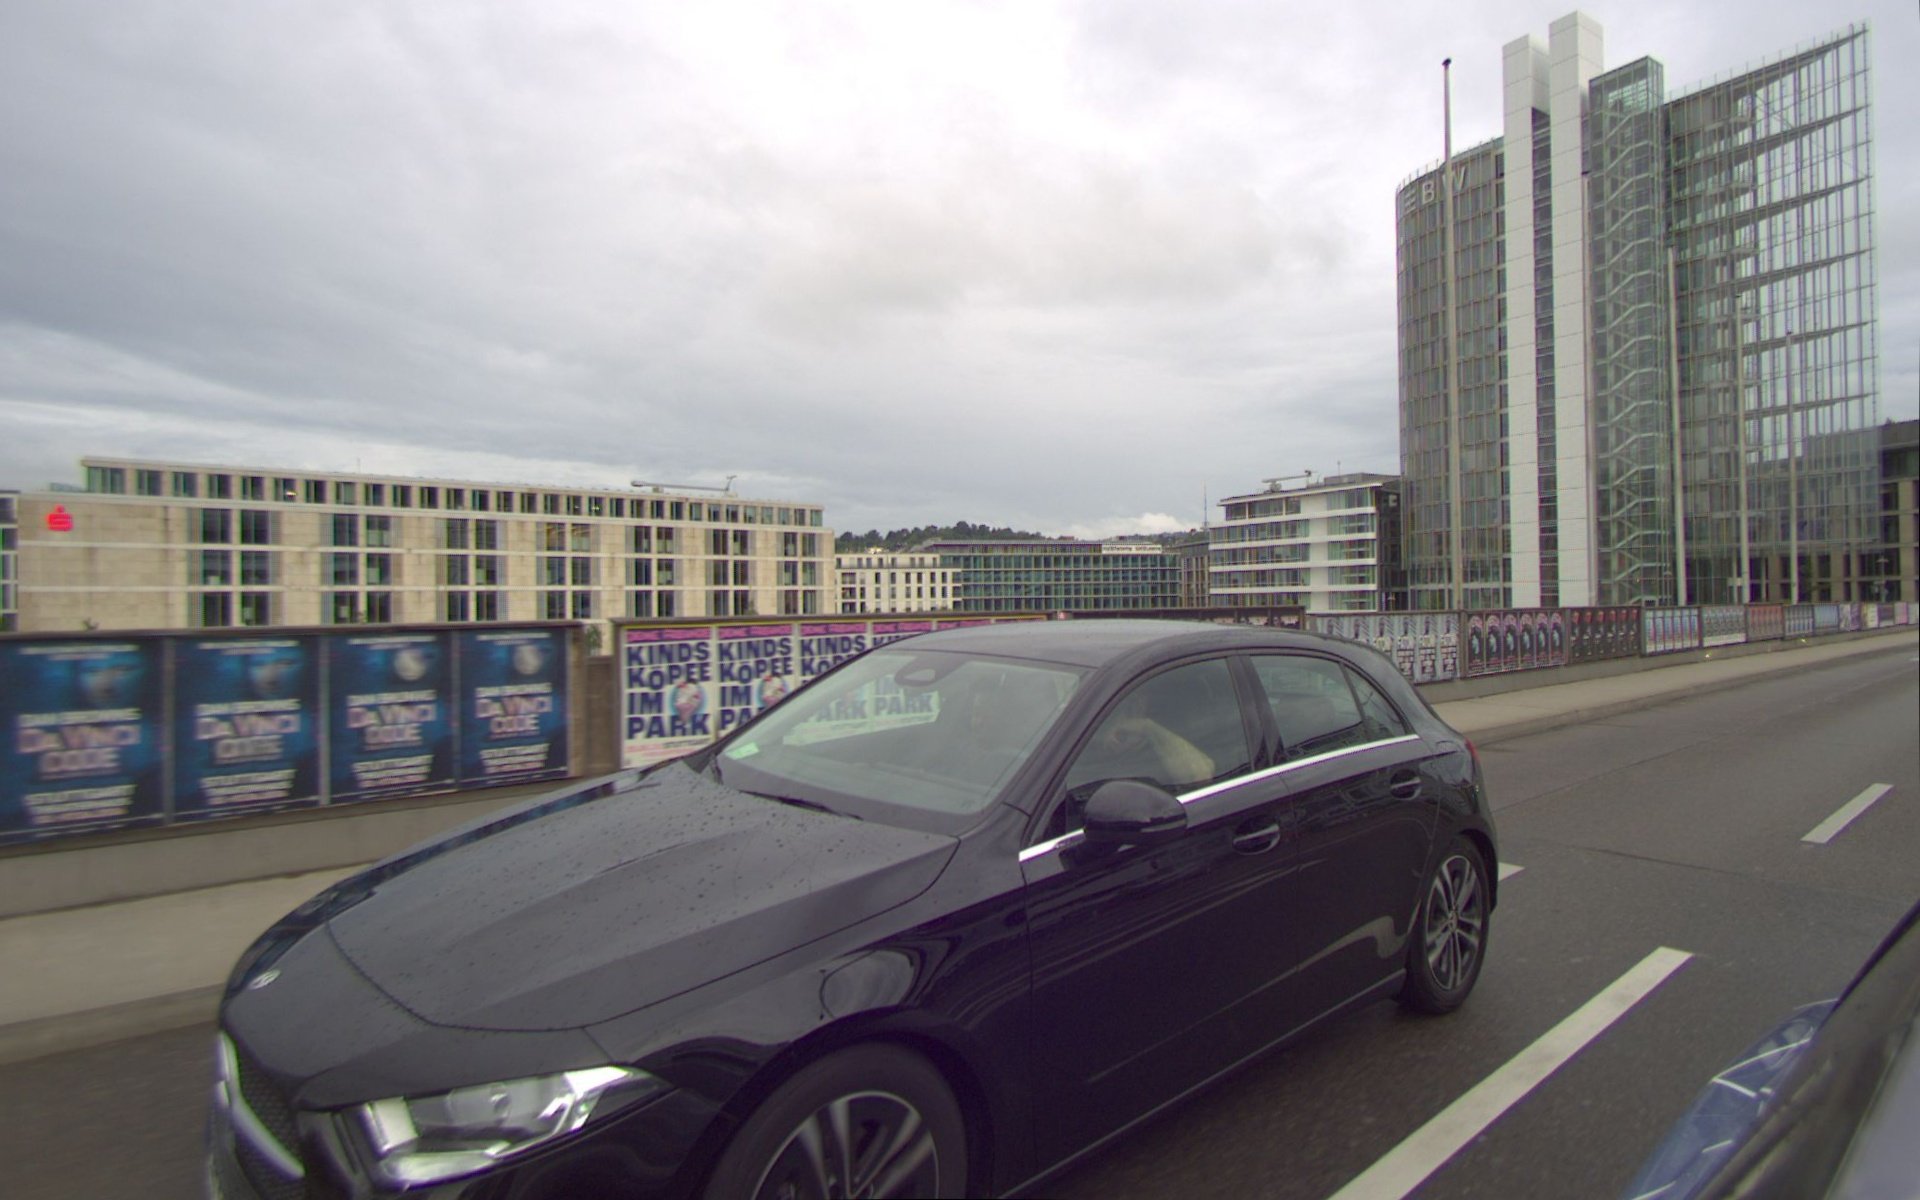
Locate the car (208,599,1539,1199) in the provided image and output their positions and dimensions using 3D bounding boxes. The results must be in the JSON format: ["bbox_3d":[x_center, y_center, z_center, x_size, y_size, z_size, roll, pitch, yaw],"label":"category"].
[{"bbox_3d":[0.164,0.724,3.285,4.083,1.393,1.726,-1,1,-41],"label":"car"}]
